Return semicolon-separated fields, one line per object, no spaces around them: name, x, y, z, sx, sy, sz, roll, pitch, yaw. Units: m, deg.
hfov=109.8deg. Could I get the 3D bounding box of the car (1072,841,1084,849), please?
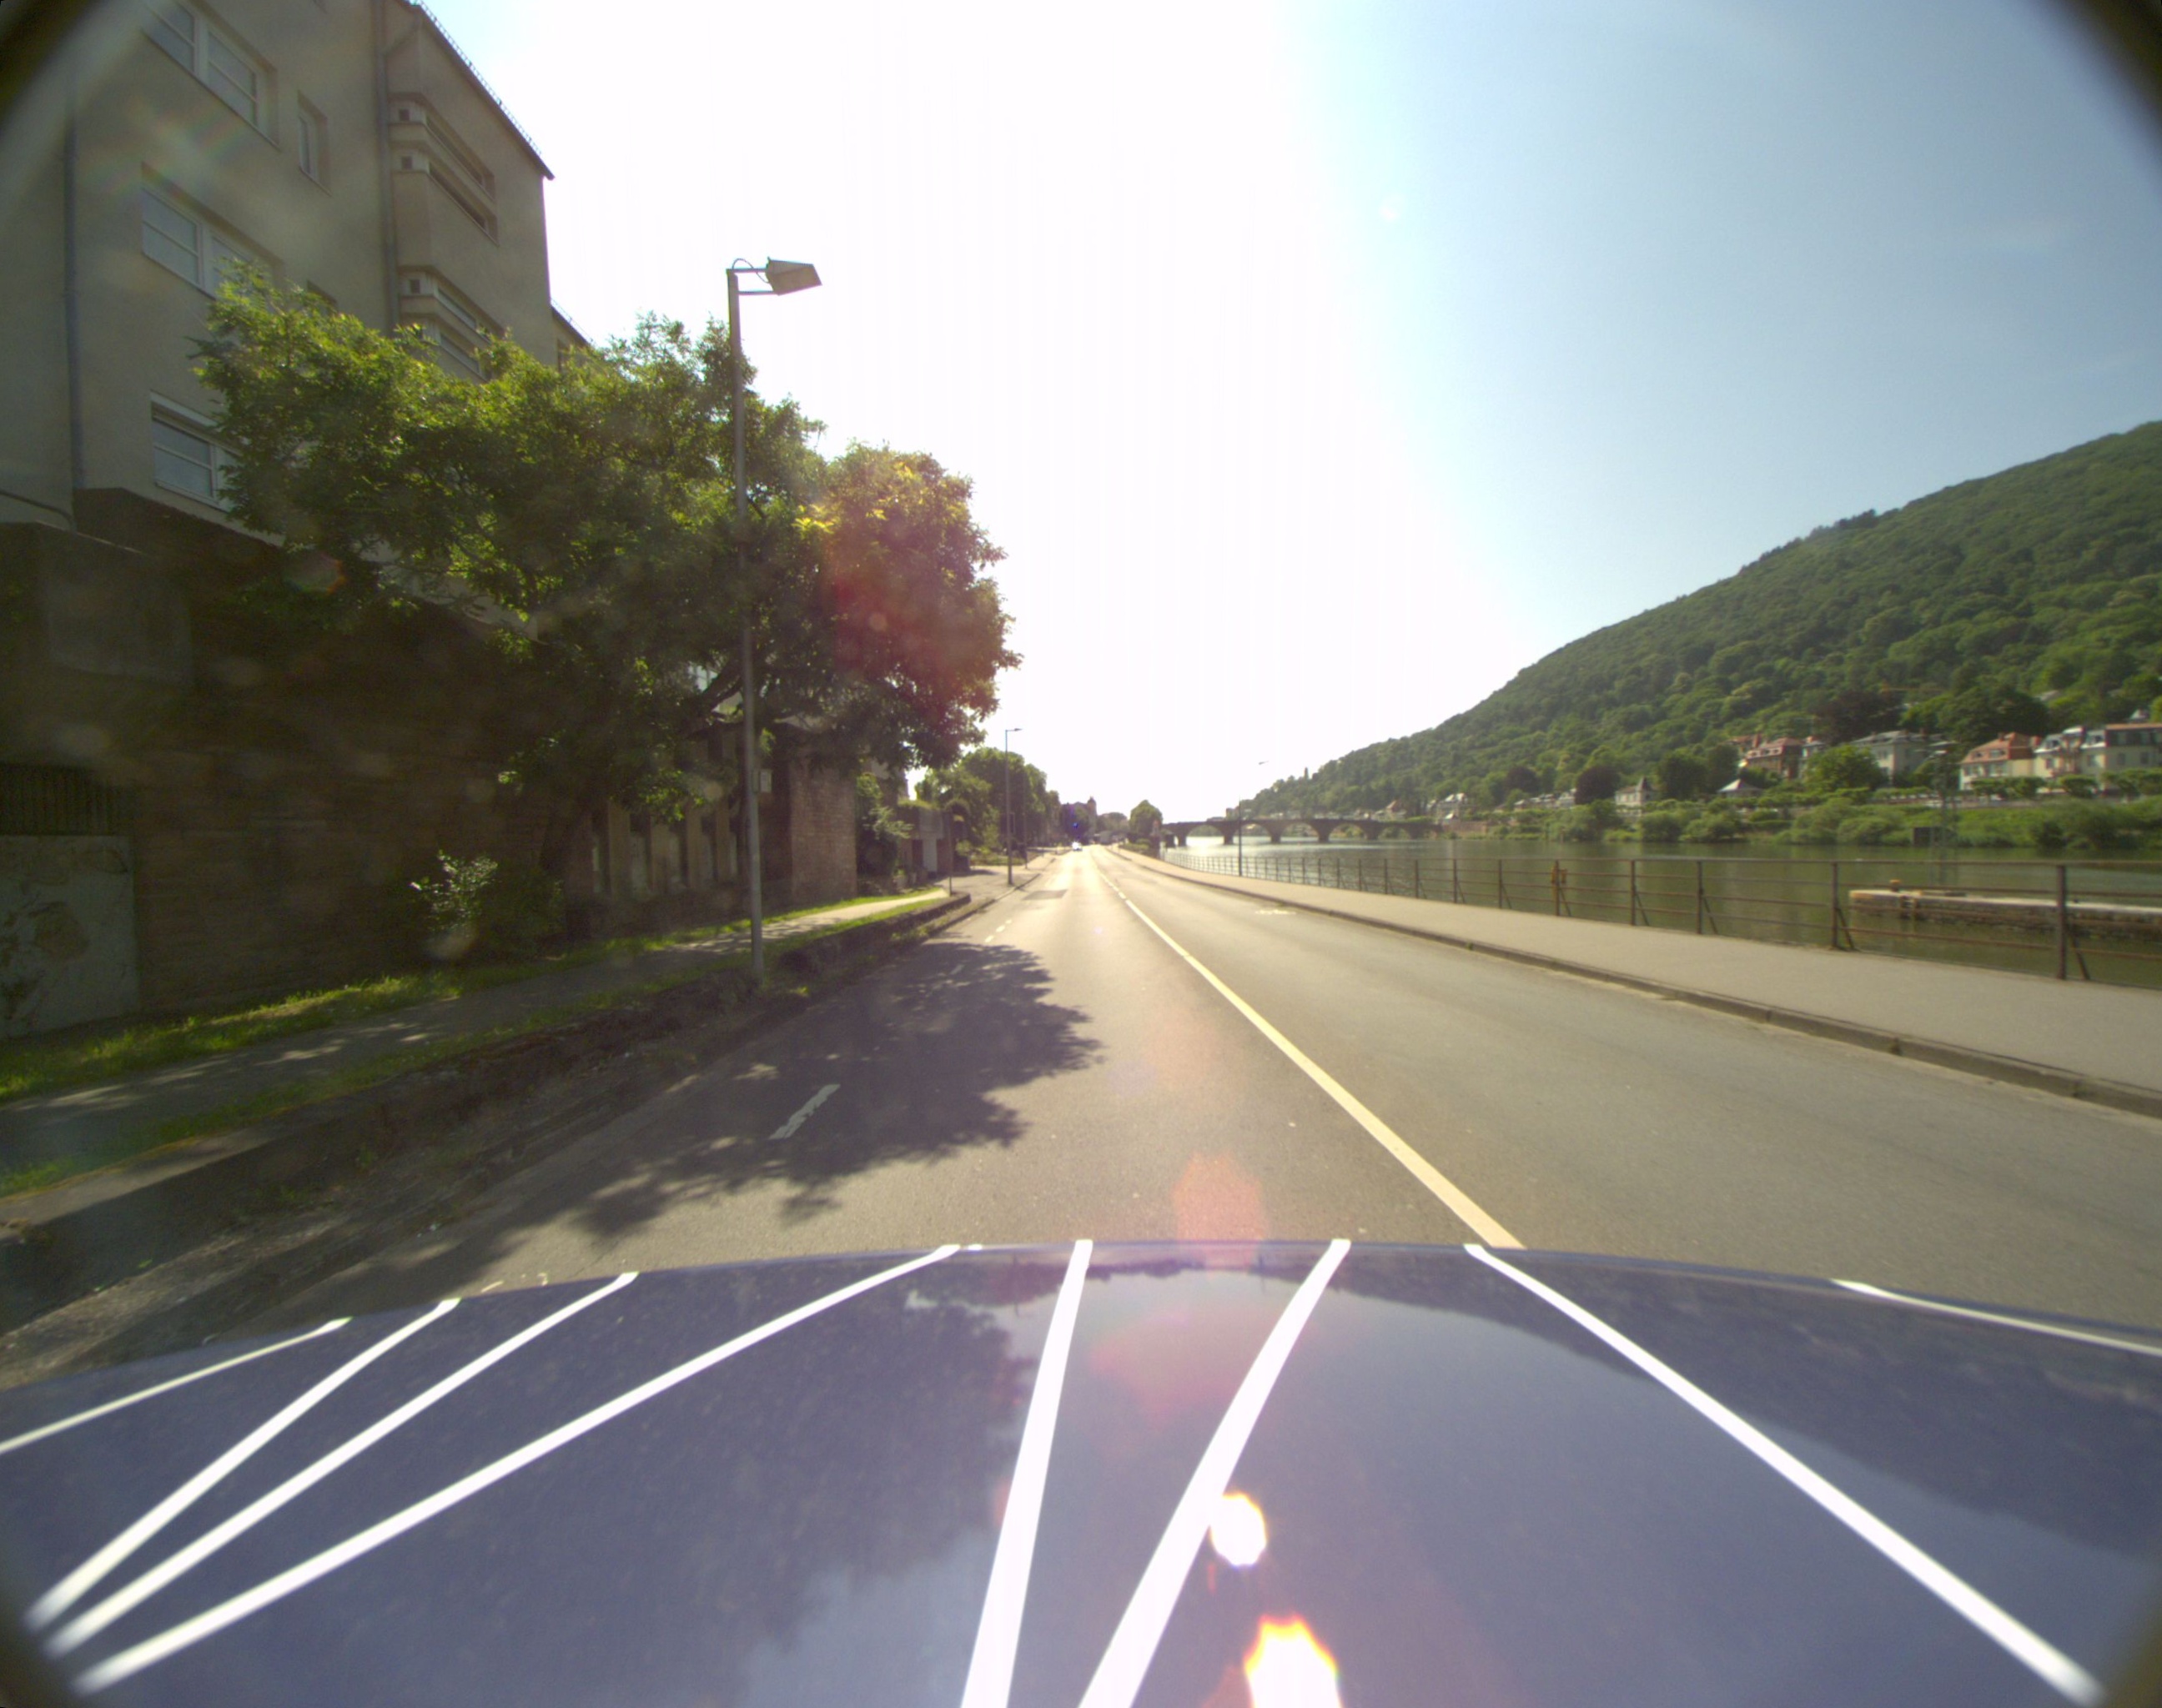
car;-0.514;-1.709;141.930;1.998;1.433;4.000;0;0;2
